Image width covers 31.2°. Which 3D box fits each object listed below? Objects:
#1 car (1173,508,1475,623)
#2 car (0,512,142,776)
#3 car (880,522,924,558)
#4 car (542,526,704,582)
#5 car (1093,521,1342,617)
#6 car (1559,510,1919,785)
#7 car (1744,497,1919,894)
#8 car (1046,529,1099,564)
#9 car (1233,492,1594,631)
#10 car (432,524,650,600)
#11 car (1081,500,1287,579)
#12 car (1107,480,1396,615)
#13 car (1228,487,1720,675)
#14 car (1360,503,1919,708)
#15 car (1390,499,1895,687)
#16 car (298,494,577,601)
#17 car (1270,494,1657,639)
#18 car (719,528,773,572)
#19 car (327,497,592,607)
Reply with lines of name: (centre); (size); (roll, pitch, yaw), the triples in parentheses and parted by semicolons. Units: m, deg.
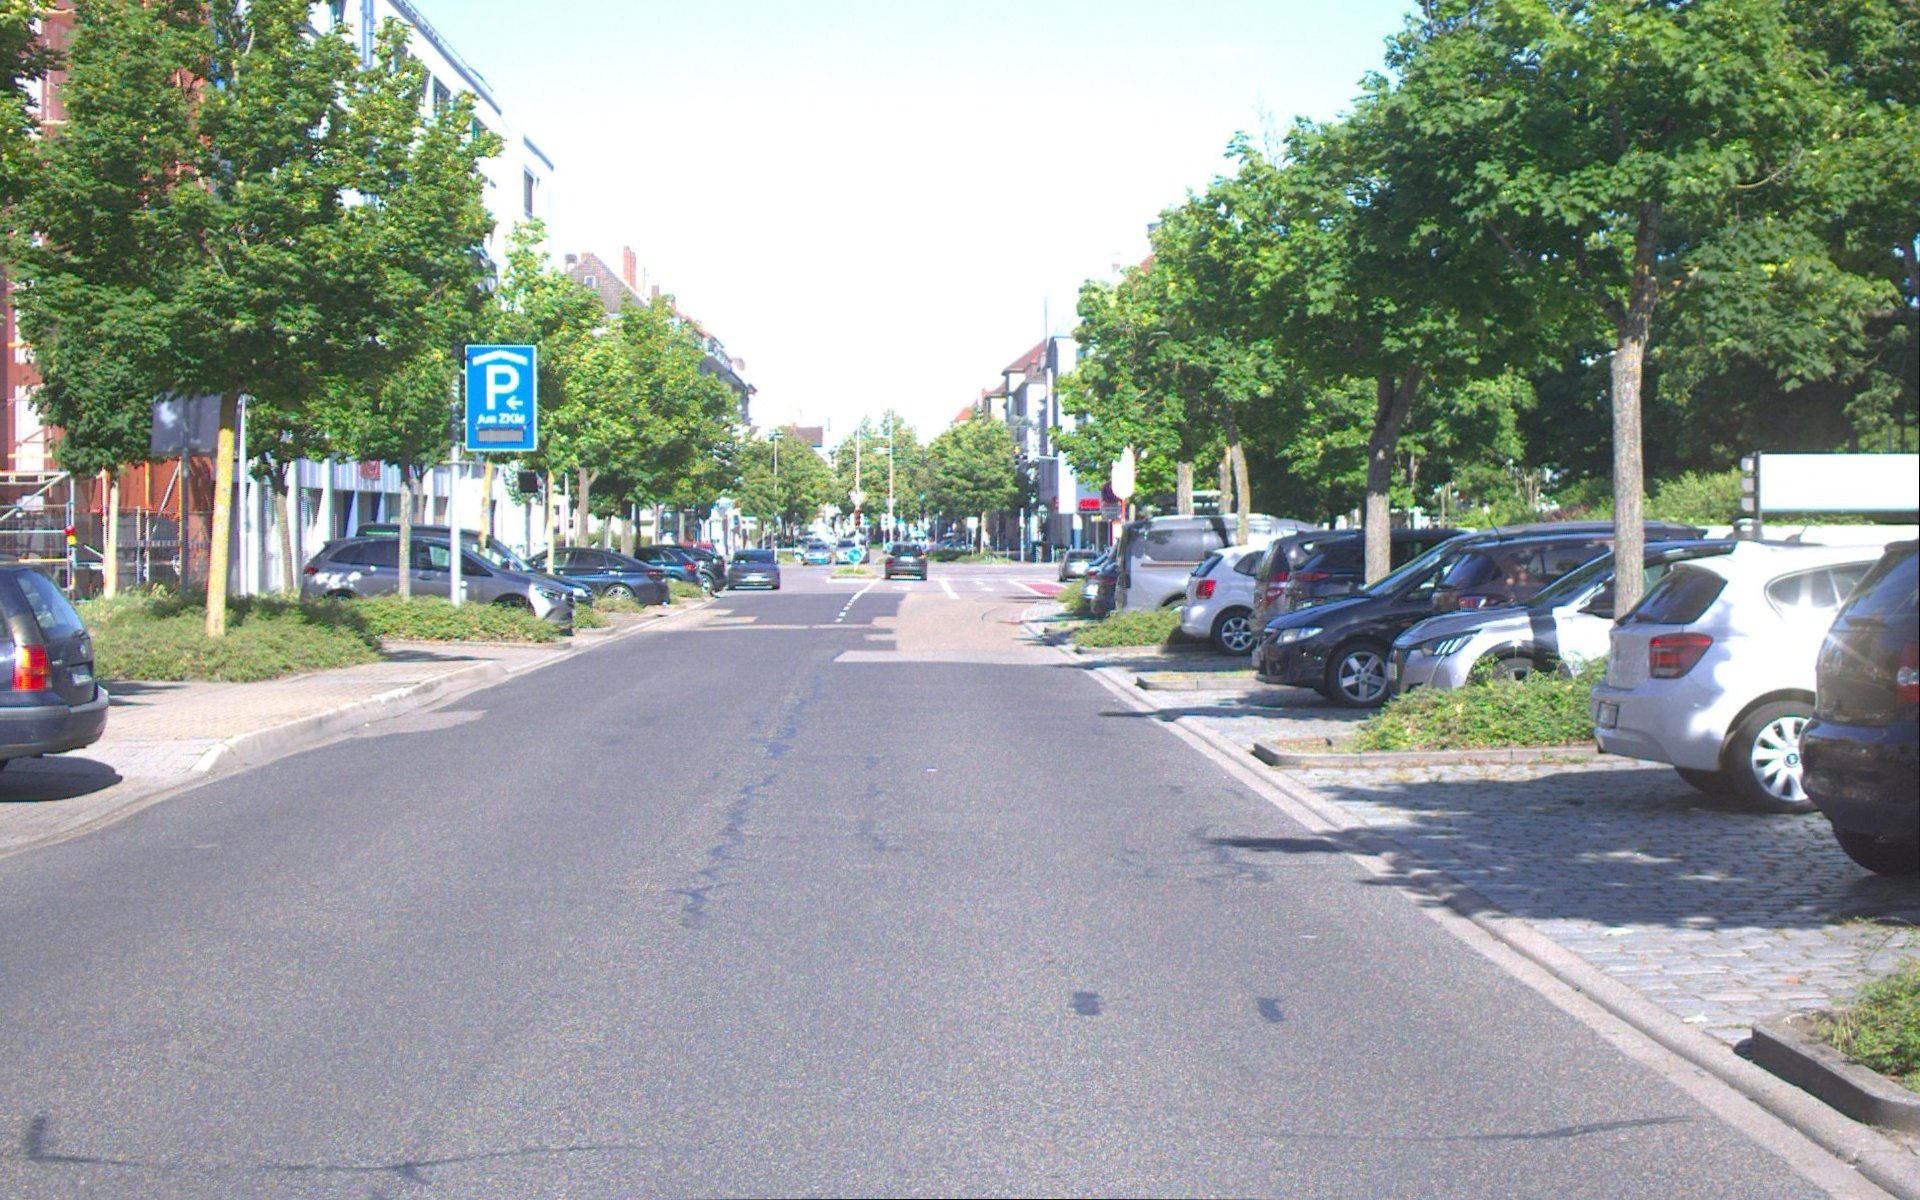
car: (4.770, -0.464, 45.405); (3.765, 1.454, 1.818); (0, 1, -1)
car: (-7.246, 0.190, 20.915); (4.129, 1.487, 1.869); (2, 2, -4)
car: (-2.510, -2.603, 149.591); (1.812, 1.469, 4.111); (0, 2, 0)
car: (-9.308, -1.270, 95.201); (4.331, 1.469, 1.818); (0, 2, -1)
car: (4.111, -0.506, 55.142); (3.913, 1.469, 1.795); (0, 2, 3)
car: (5.520, 0.209, 19.080); (4.062, 1.421, 1.742); (-1, 1, 1)
car: (5.336, 0.342, 14.549); (3.605, 1.544, 1.707); (-1, 2, -3)
car: (5.013, -2.397, 153.541); (1.989, 1.469, 4.111); (-1, 2, -3)
car: (5.301, -0.461, 40.584); (3.987, 1.576, 2.032); (0, 1, 0)
car: (-8.524, -0.782, 70.245); (4.330, 1.469, 1.818); (-1, 2, -4)
car: (4.327, -1.163, 66.468); (3.913, 1.469, 1.757); (0, 0, 3)
car: (4.148, -0.769, 49.351); (3.987, 1.873, 1.683); (0, 2, 0)
car: (4.600, -0.191, 31.133); (4.144, 1.574, 1.741); (-1, 1, -2)
car: (5.114, 0.016, 26.125); (3.900, 1.481, 1.743); (0, 1, -1)
car: (5.667, -0.083, 28.825); (3.861, 1.499, 1.652); (0, 1, -3)
car: (-8.399, -0.865, 55.511); (4.261, 1.660, 1.599); (0, 2, -1)
car: (5.502, -0.367, 37.918); (3.987, 1.533, 1.862); (0, 0, 0)
car: (-7.628, -1.787, 122.812); (1.811, 1.469, 4.111); (0, 2, -2)
car: (-8.722, -0.857, 60.136); (4.331, 1.855, 1.818); (0, 2, 1)
